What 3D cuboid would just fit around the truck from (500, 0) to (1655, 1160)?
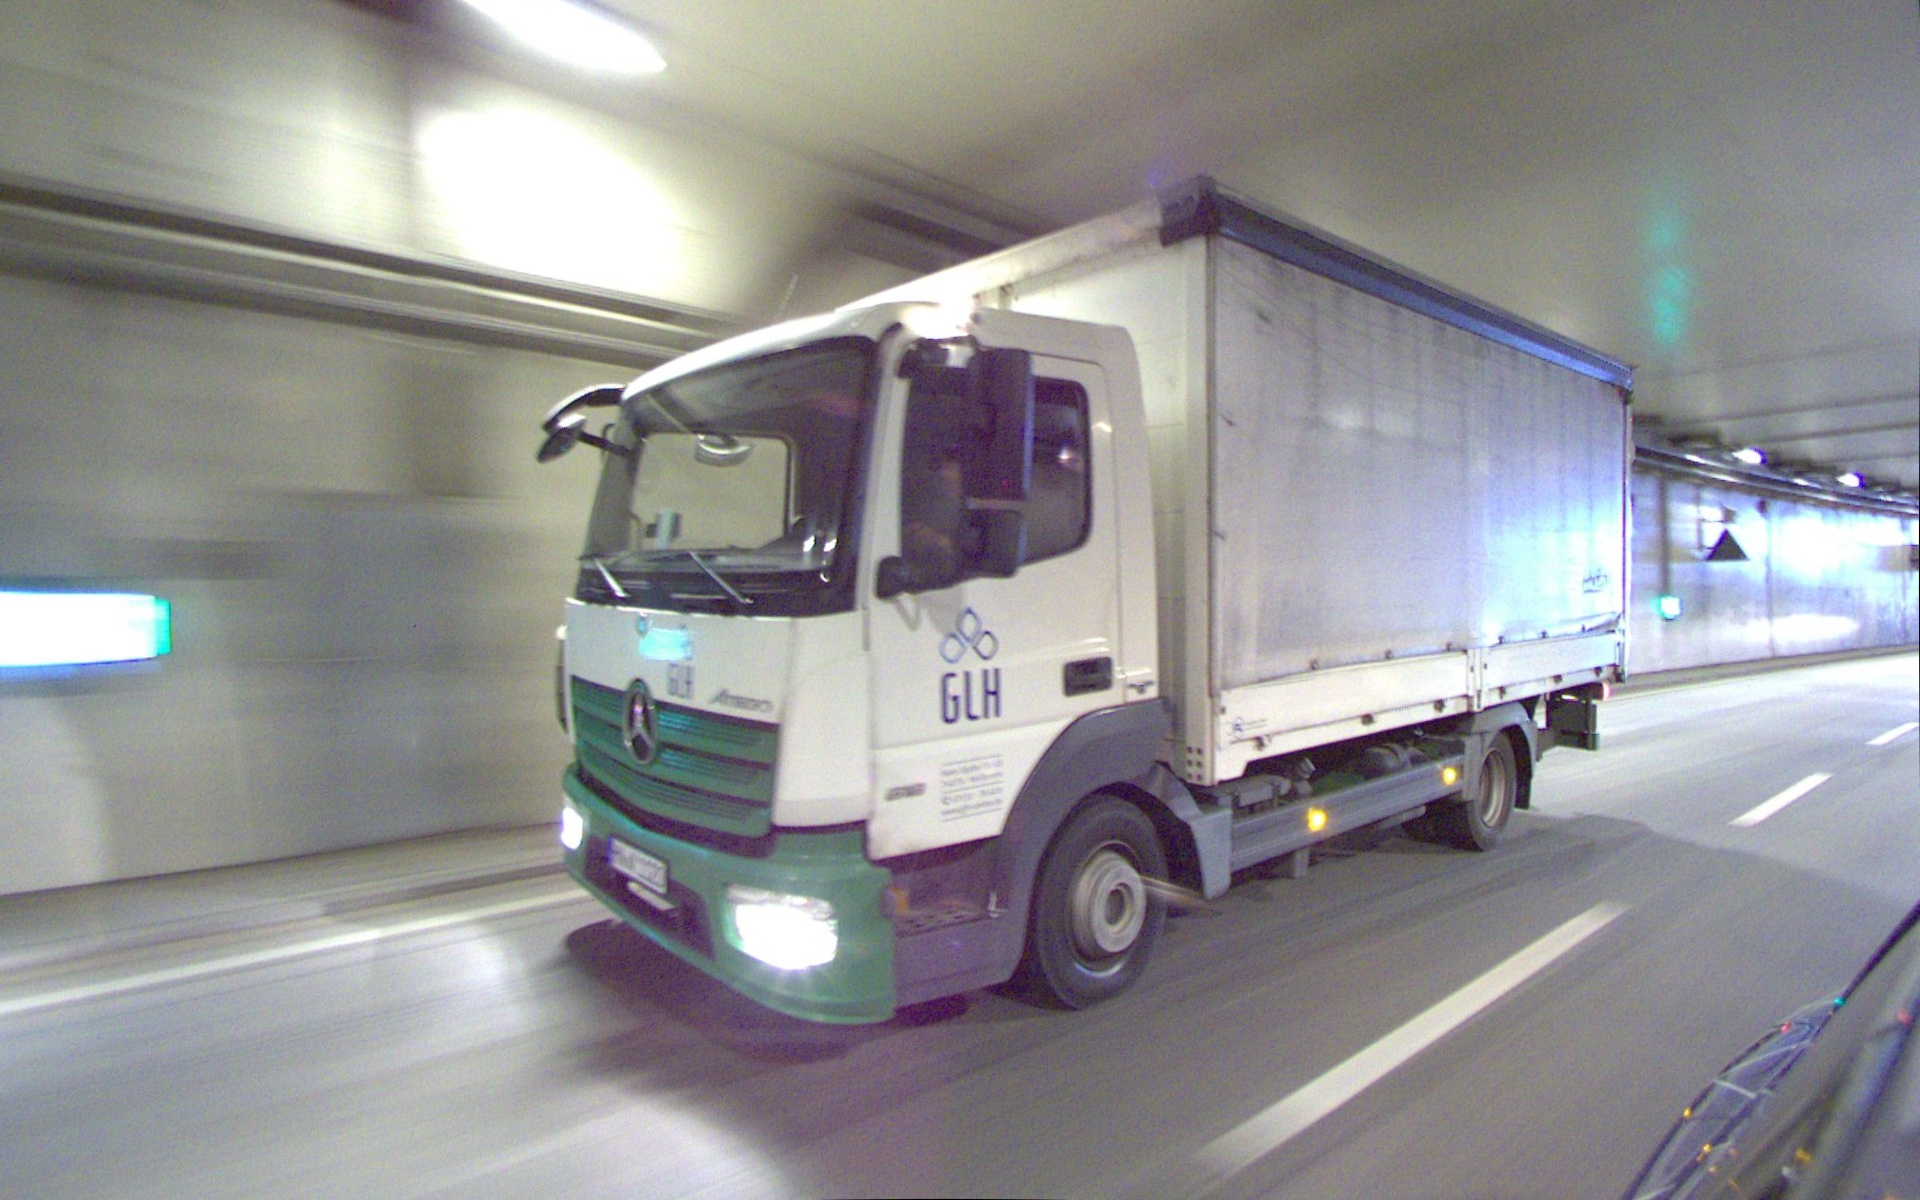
[{"bbox_3d":[1.456,-0.194,5.889,7.118,3.221,2.558,0,0,-41],"label":"truck"}]
